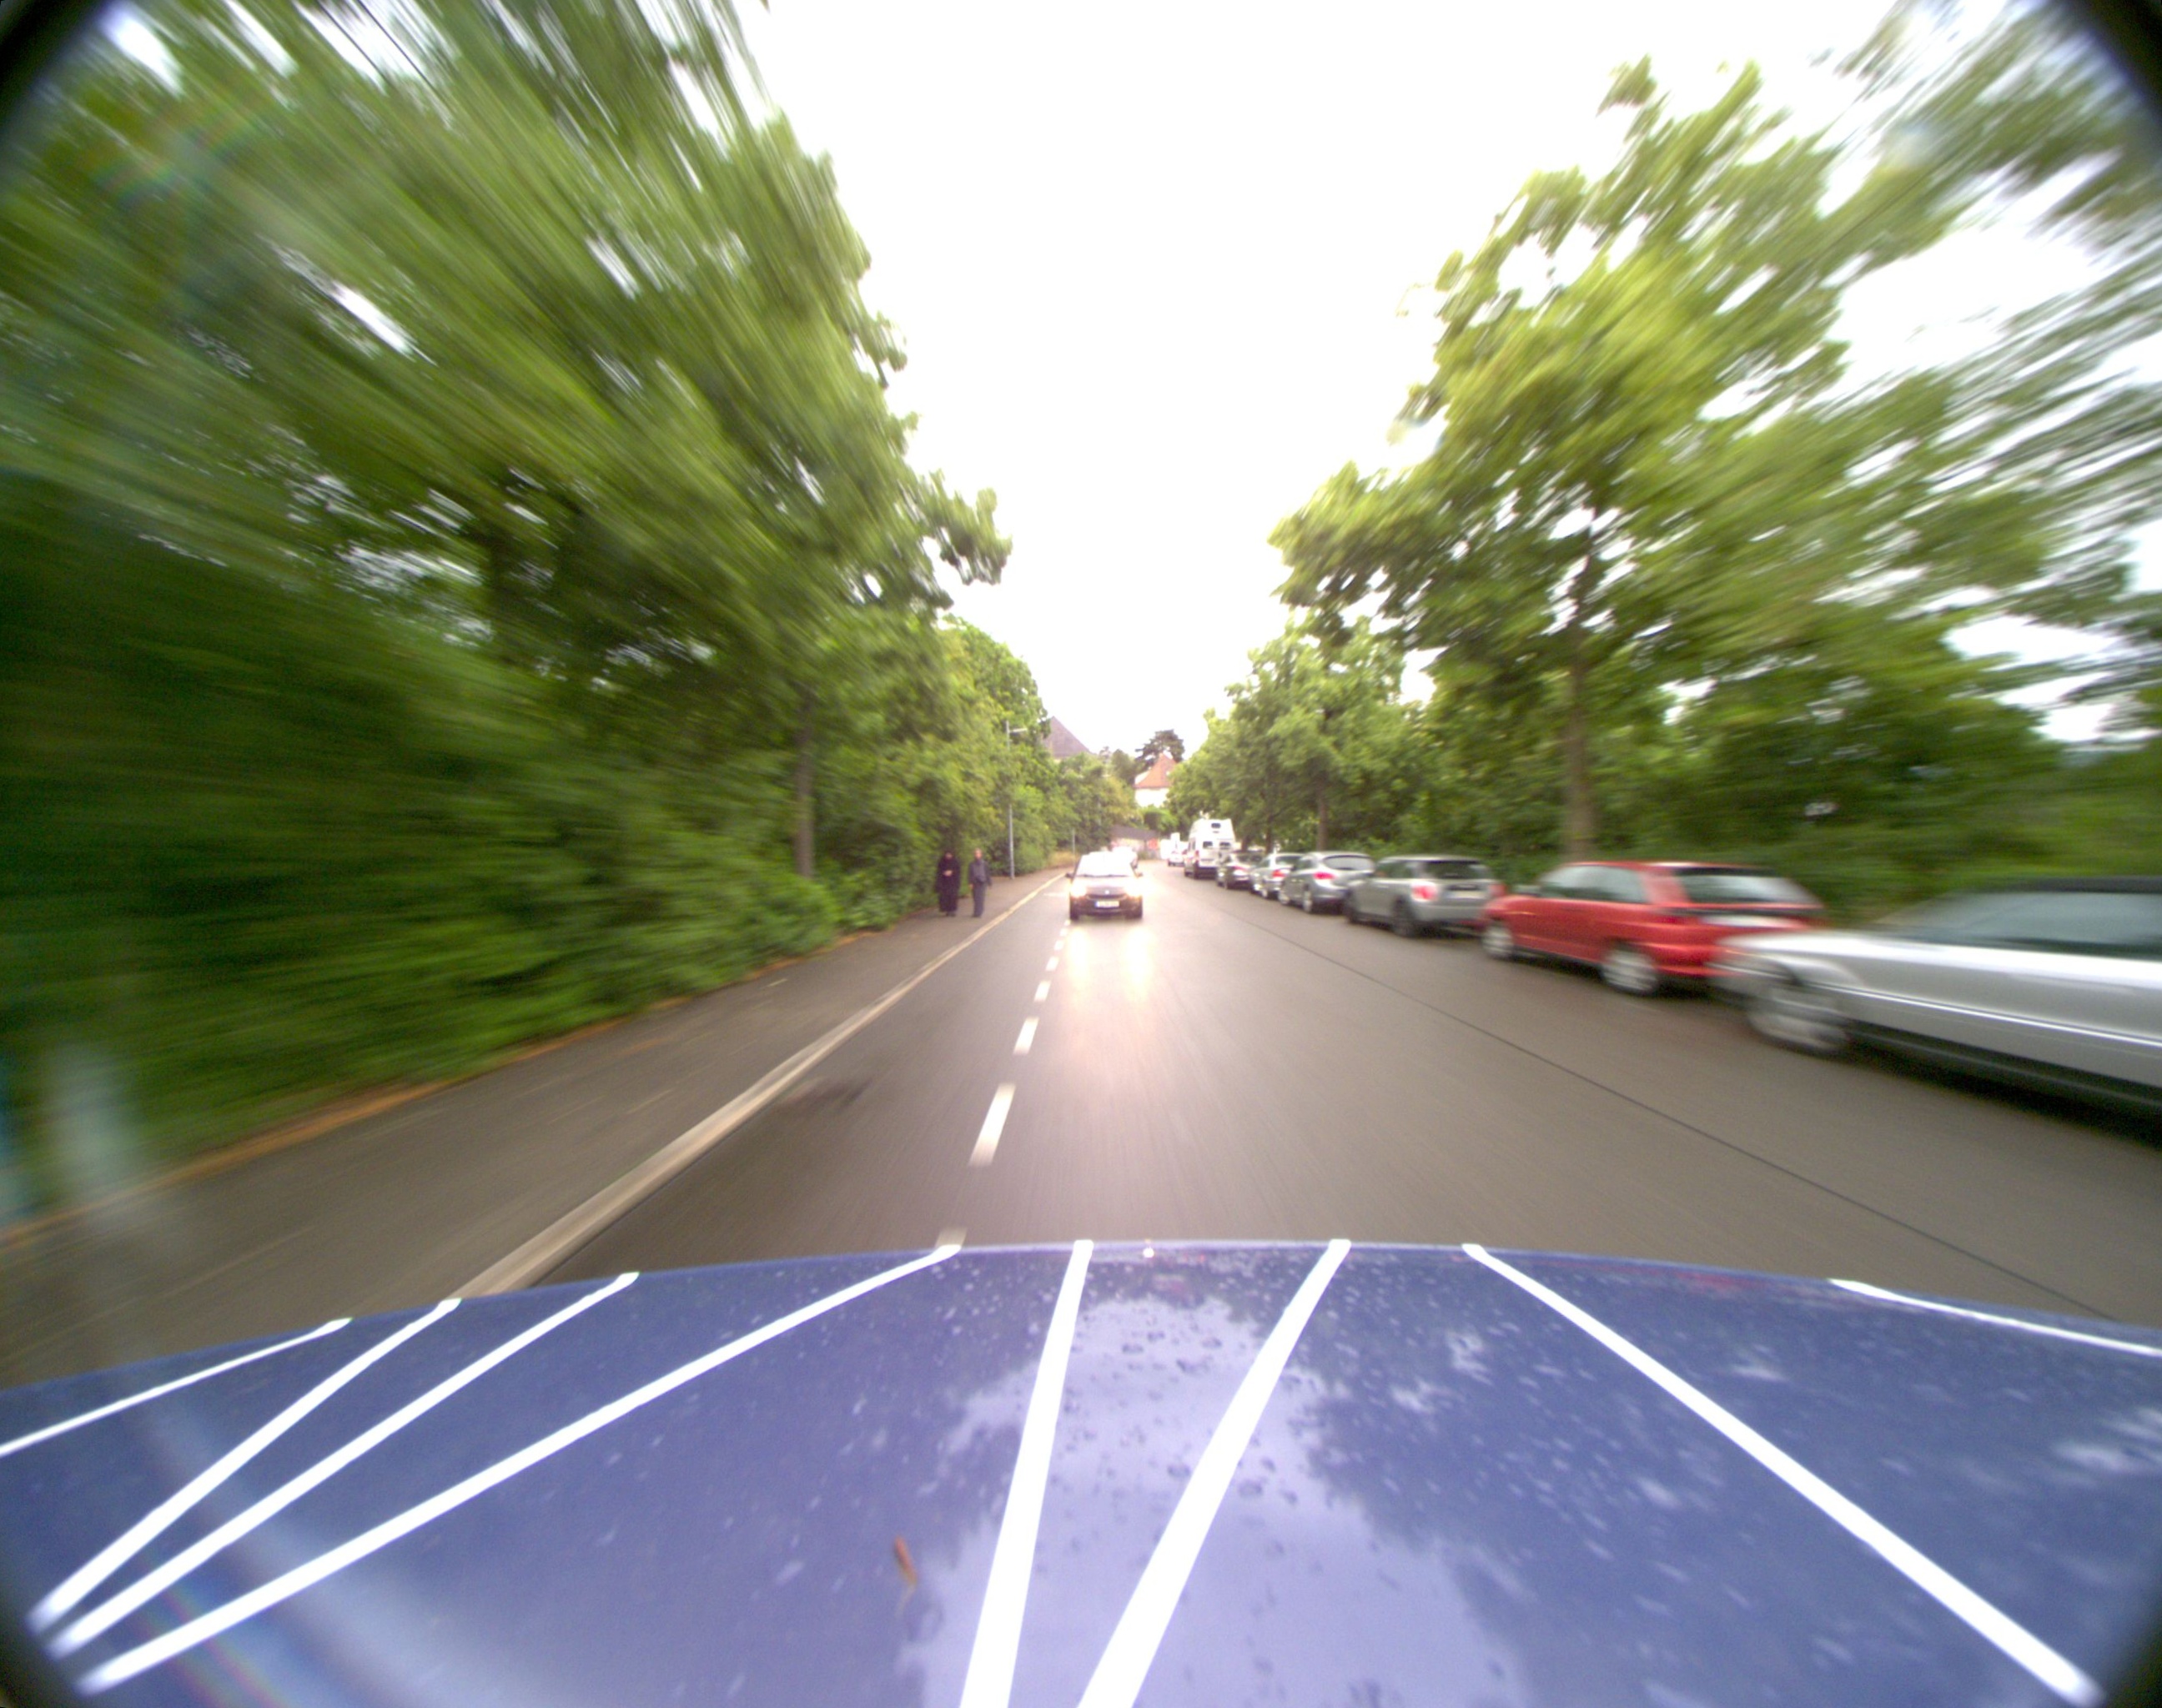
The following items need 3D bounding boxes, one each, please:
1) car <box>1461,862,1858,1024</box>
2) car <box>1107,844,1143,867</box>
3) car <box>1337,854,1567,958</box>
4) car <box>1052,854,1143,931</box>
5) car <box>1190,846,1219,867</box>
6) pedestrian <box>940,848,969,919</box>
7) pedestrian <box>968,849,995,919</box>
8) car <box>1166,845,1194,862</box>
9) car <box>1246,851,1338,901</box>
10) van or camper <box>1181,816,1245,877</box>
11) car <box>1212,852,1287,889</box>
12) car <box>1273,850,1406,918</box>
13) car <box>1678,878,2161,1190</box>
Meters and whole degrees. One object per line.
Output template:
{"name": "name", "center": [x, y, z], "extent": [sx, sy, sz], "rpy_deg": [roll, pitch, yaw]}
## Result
{"name": "car", "center": [6.369, 0.845, 9.053], "extent": [1.599, 1.354, 3.999], "rpy_deg": [0, 1, -1]}
{"name": "car", "center": [3.380, 0.081, 58.025], "extent": [2.028, 1.619, 4.231], "rpy_deg": [0, 1, 14]}
{"name": "car", "center": [6.260, 0.766, 13.572], "extent": [1.998, 1.397, 4.714], "rpy_deg": [1, 1, 3]}
{"name": "car", "center": [0.503, 0.790, 17.572], "extent": [1.803, 1.418, 4.383], "rpy_deg": [-2, 1, 5]}
{"name": "car", "center": [9.377, 0.125, 57.450], "extent": [1.957, 1.453, 4.579], "rpy_deg": [2, 1, 12]}
{"name": "pedestrian", "center": [-2.874, 0.655, 17.248], "extent": [0.597, 1.558, 0.668], "rpy_deg": [1, 3, -12]}
{"name": "pedestrian", "center": [-2.270, 0.683, 17.347], "extent": [0.554, 1.558, 0.486], "rpy_deg": [1, 2, -10]}
{"name": "car", "center": [8.785, -0.040, 67.238], "extent": [1.885, 1.394, 4.260], "rpy_deg": [0, 2, 16]}
{"name": "car", "center": [6.633, 0.634, 24.404], "extent": [1.998, 1.397, 4.715], "rpy_deg": [1, 0, 5]}
{"name": "van or camper", "center": [7.026, -0.447, 41.164], "extent": [2.511, 3.010, 6.560], "rpy_deg": [0, 2, 2]}
{"name": "car", "center": [6.586, 0.592, 30.246], "extent": [1.998, 1.301, 5.356], "rpy_deg": [1, 0, 3]}
{"name": "car", "center": [6.340, 0.655, 19.292], "extent": [1.998, 1.397, 4.714], "rpy_deg": [1, 1, 3]}
{"name": "car", "center": [5.950, 0.909, 4.255], "extent": [1.759, 1.394, 4.420], "rpy_deg": [2, 0, 1]}
